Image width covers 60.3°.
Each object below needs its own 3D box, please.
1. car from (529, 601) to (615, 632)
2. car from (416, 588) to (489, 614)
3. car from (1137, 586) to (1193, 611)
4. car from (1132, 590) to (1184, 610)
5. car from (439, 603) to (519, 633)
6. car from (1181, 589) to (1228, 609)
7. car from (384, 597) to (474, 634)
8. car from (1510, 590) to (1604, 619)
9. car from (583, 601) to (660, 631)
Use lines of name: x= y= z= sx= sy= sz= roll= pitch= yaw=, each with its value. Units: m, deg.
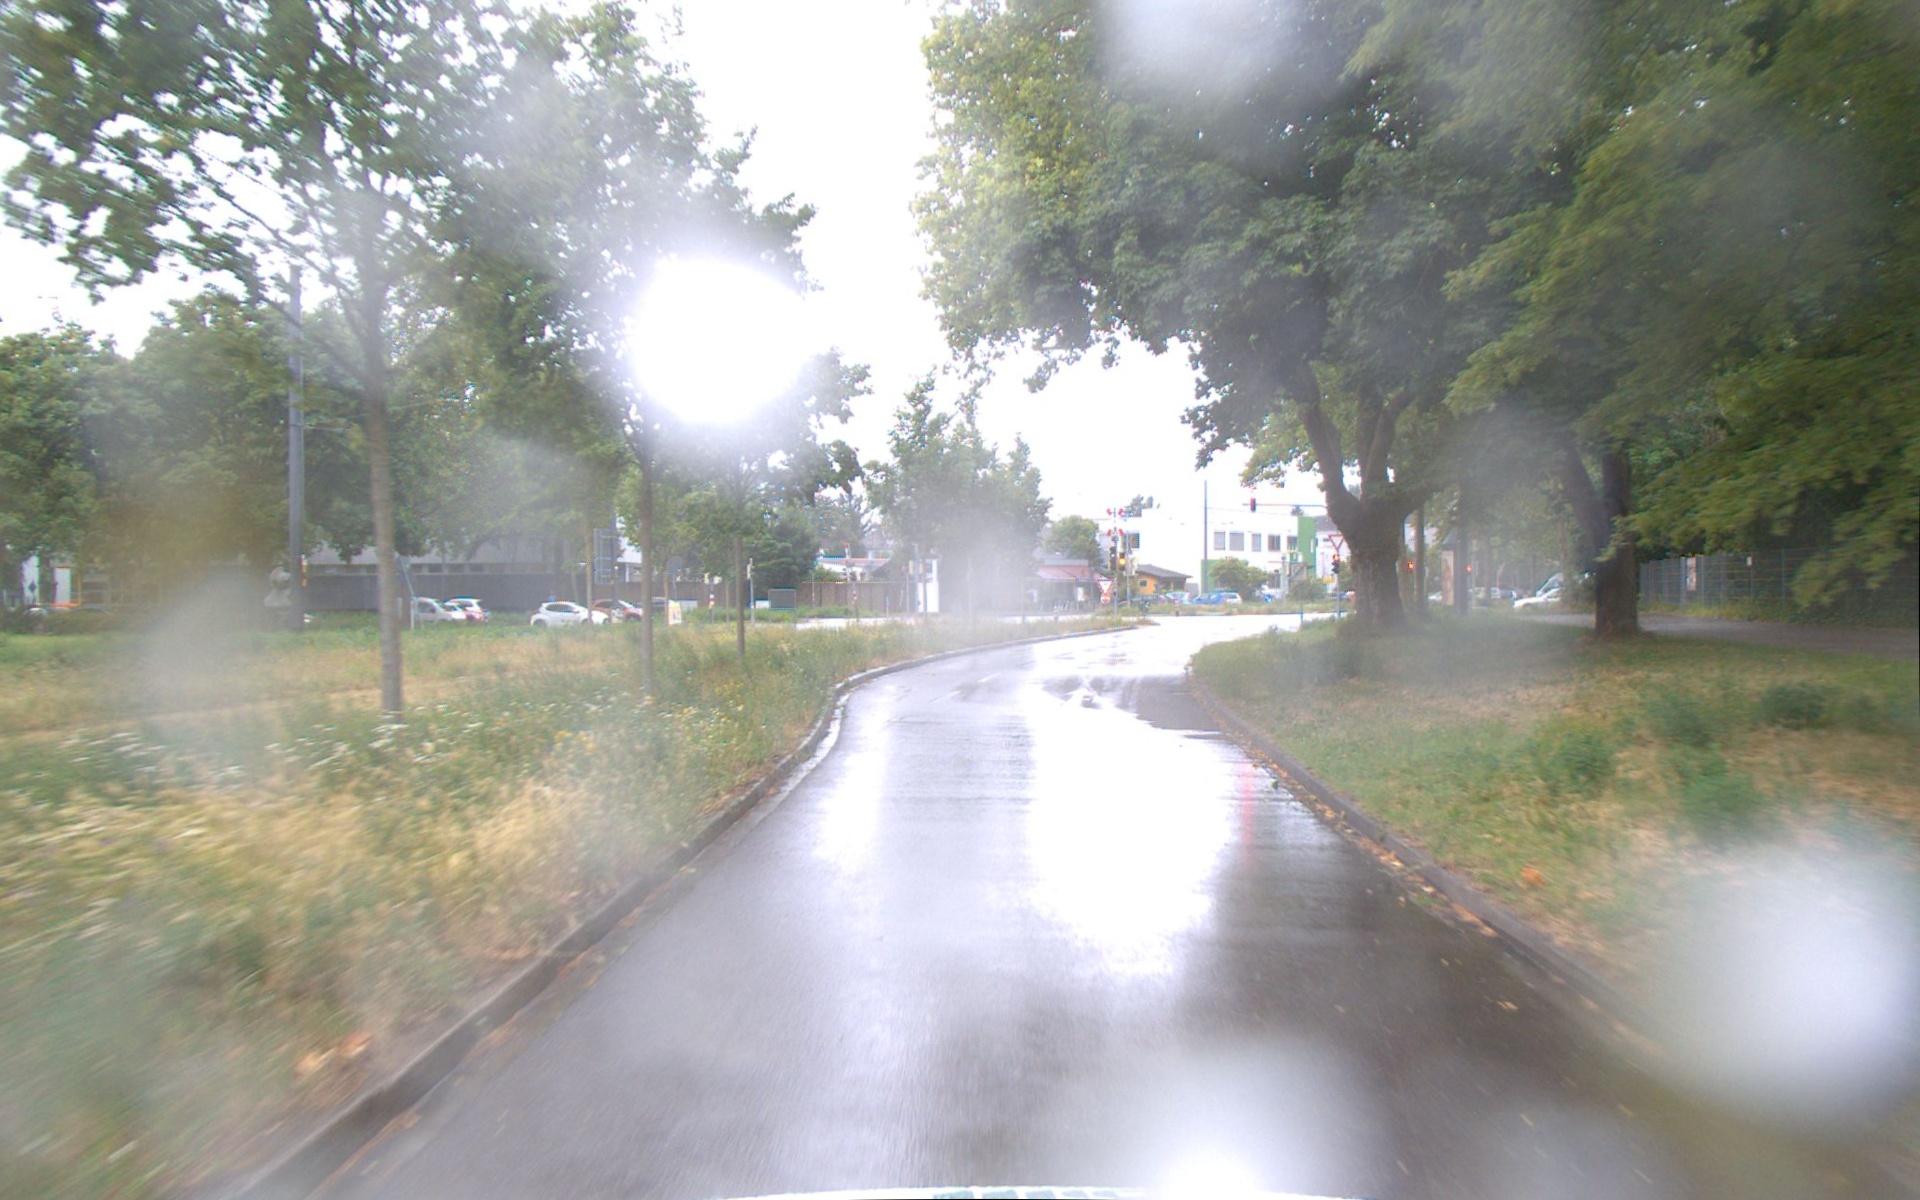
car: x=-20.148 y=0.861 z=85.971 sx=3.980 sy=1.525 sz=1.653 roll=-1 pitch=0 yaw=4
car: x=-30.542 y=0.066 z=99.547 sx=3.904 sy=1.445 sz=1.538 roll=-1 pitch=0 yaw=1
car: x=16.126 y=-0.135 z=130.269 sx=4.051 sy=1.892 sz=1.673 roll=-1 pitch=-1 yaw=23
car: x=15.204 y=0.004 z=126.926 sx=3.672 sy=1.467 sz=1.763 roll=-1 pitch=0 yaw=19
car: x=-26.224 y=0.989 z=90.245 sx=3.827 sy=1.525 sz=1.652 roll=-1 pitch=1 yaw=1
car: x=19.886 y=-0.078 z=134.325 sx=3.670 sy=1.467 sz=1.764 roll=-1 pitch=0 yaw=10
car: x=-27.840 y=0.808 z=86.807 sx=4.120 sy=1.828 sz=1.653 roll=-1 pitch=1 yaw=5
car: x=31.099 y=0.236 z=86.213 sx=4.416 sy=1.414 sz=1.646 roll=-1 pitch=0 yaw=13
car: x=-18.333 y=0.846 z=89.661 sx=3.737 sy=1.525 sz=1.653 roll=-1 pitch=0 yaw=4
